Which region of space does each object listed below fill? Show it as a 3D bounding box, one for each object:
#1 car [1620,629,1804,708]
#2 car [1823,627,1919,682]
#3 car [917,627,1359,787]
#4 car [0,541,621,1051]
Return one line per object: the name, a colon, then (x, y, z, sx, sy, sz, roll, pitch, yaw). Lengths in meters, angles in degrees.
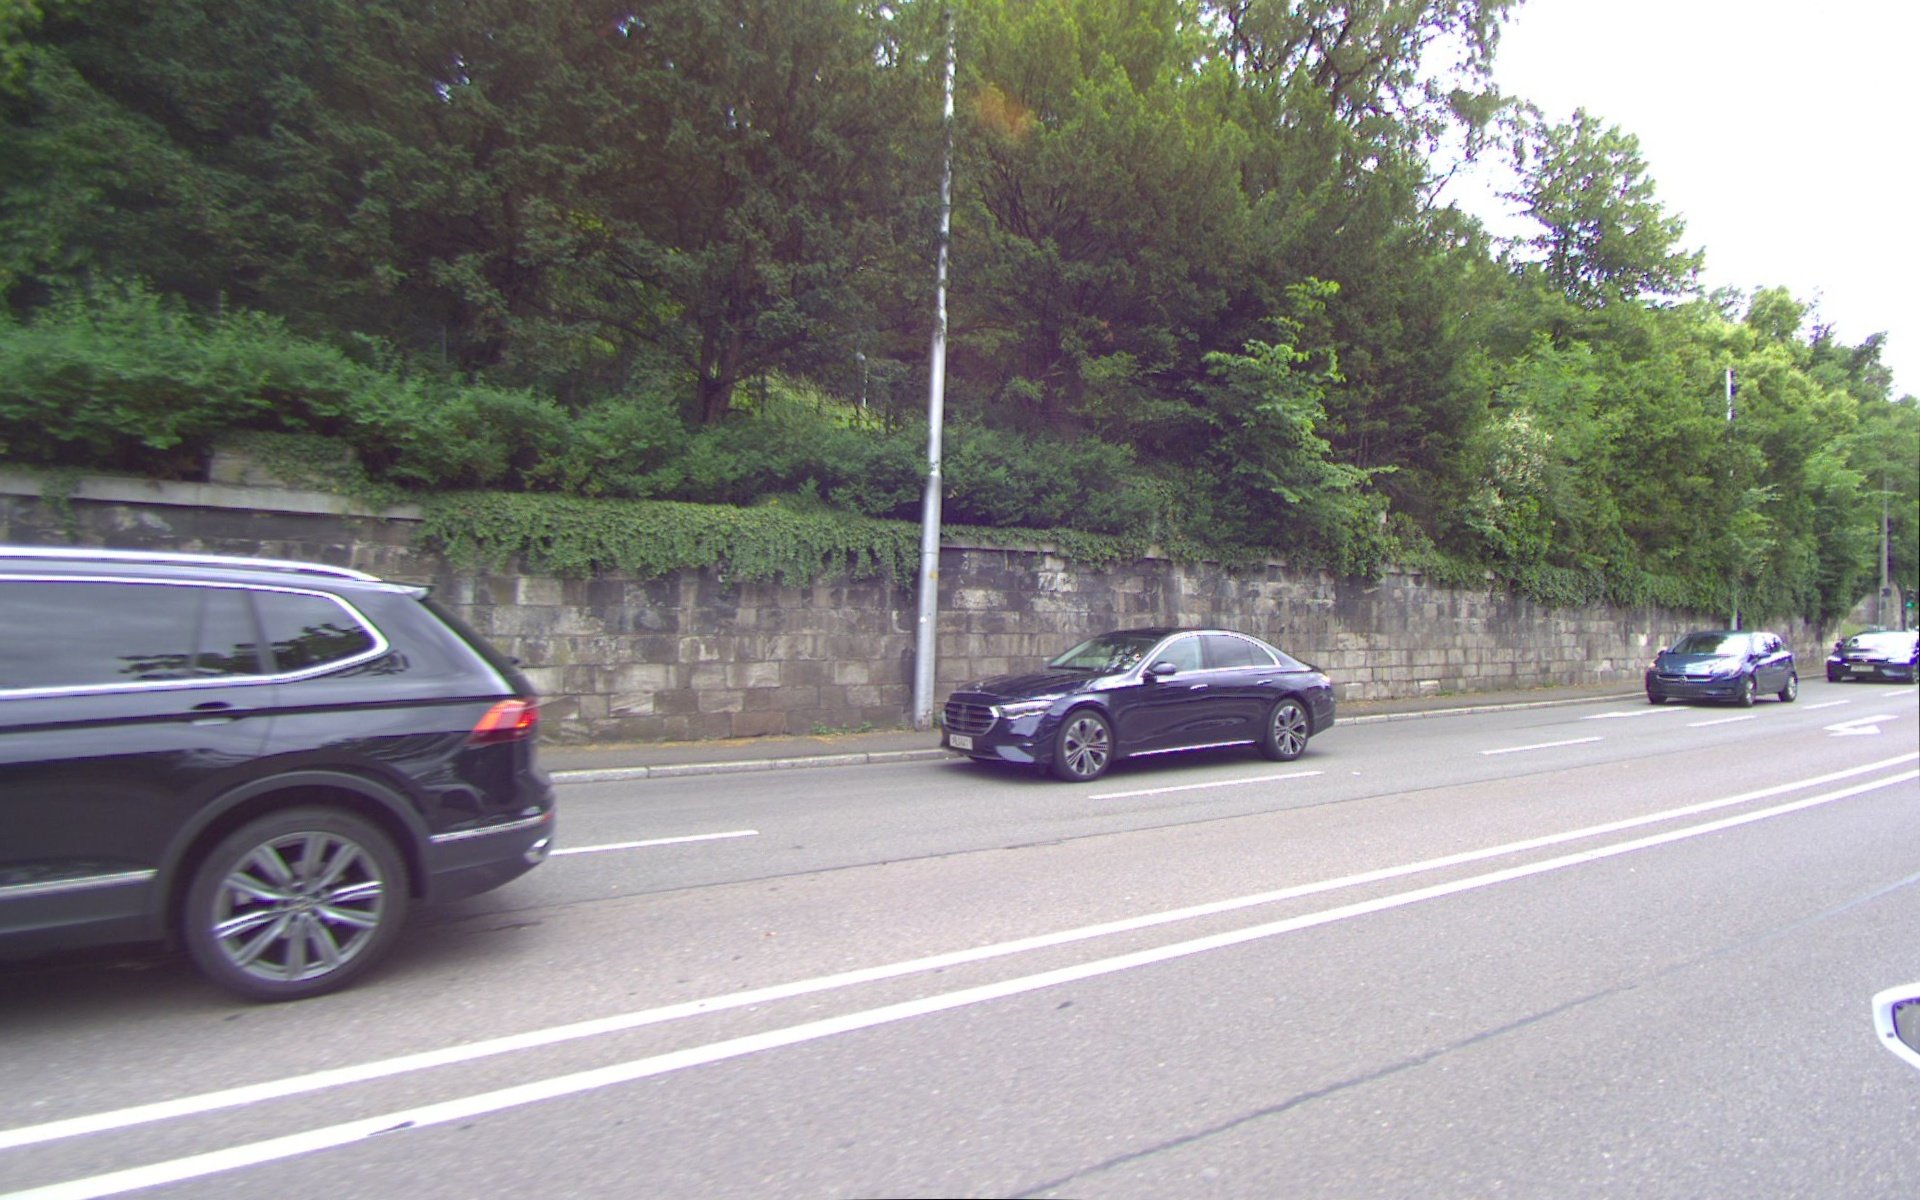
car: (15.366, 1.335, 20.480, 3.959, 1.455, 1.831, 1, -2, -34)
car: (26.341, 1.512, 28.432, 4.410, 1.427, 1.831, 2, -2, -35)
car: (2.050, 1.046, 11.078, 4.702, 1.427, 1.992, 2, -2, -32)
car: (-3.895, 0.663, 3.930, 4.572, 1.673, 1.838, 2, -3, -32)
